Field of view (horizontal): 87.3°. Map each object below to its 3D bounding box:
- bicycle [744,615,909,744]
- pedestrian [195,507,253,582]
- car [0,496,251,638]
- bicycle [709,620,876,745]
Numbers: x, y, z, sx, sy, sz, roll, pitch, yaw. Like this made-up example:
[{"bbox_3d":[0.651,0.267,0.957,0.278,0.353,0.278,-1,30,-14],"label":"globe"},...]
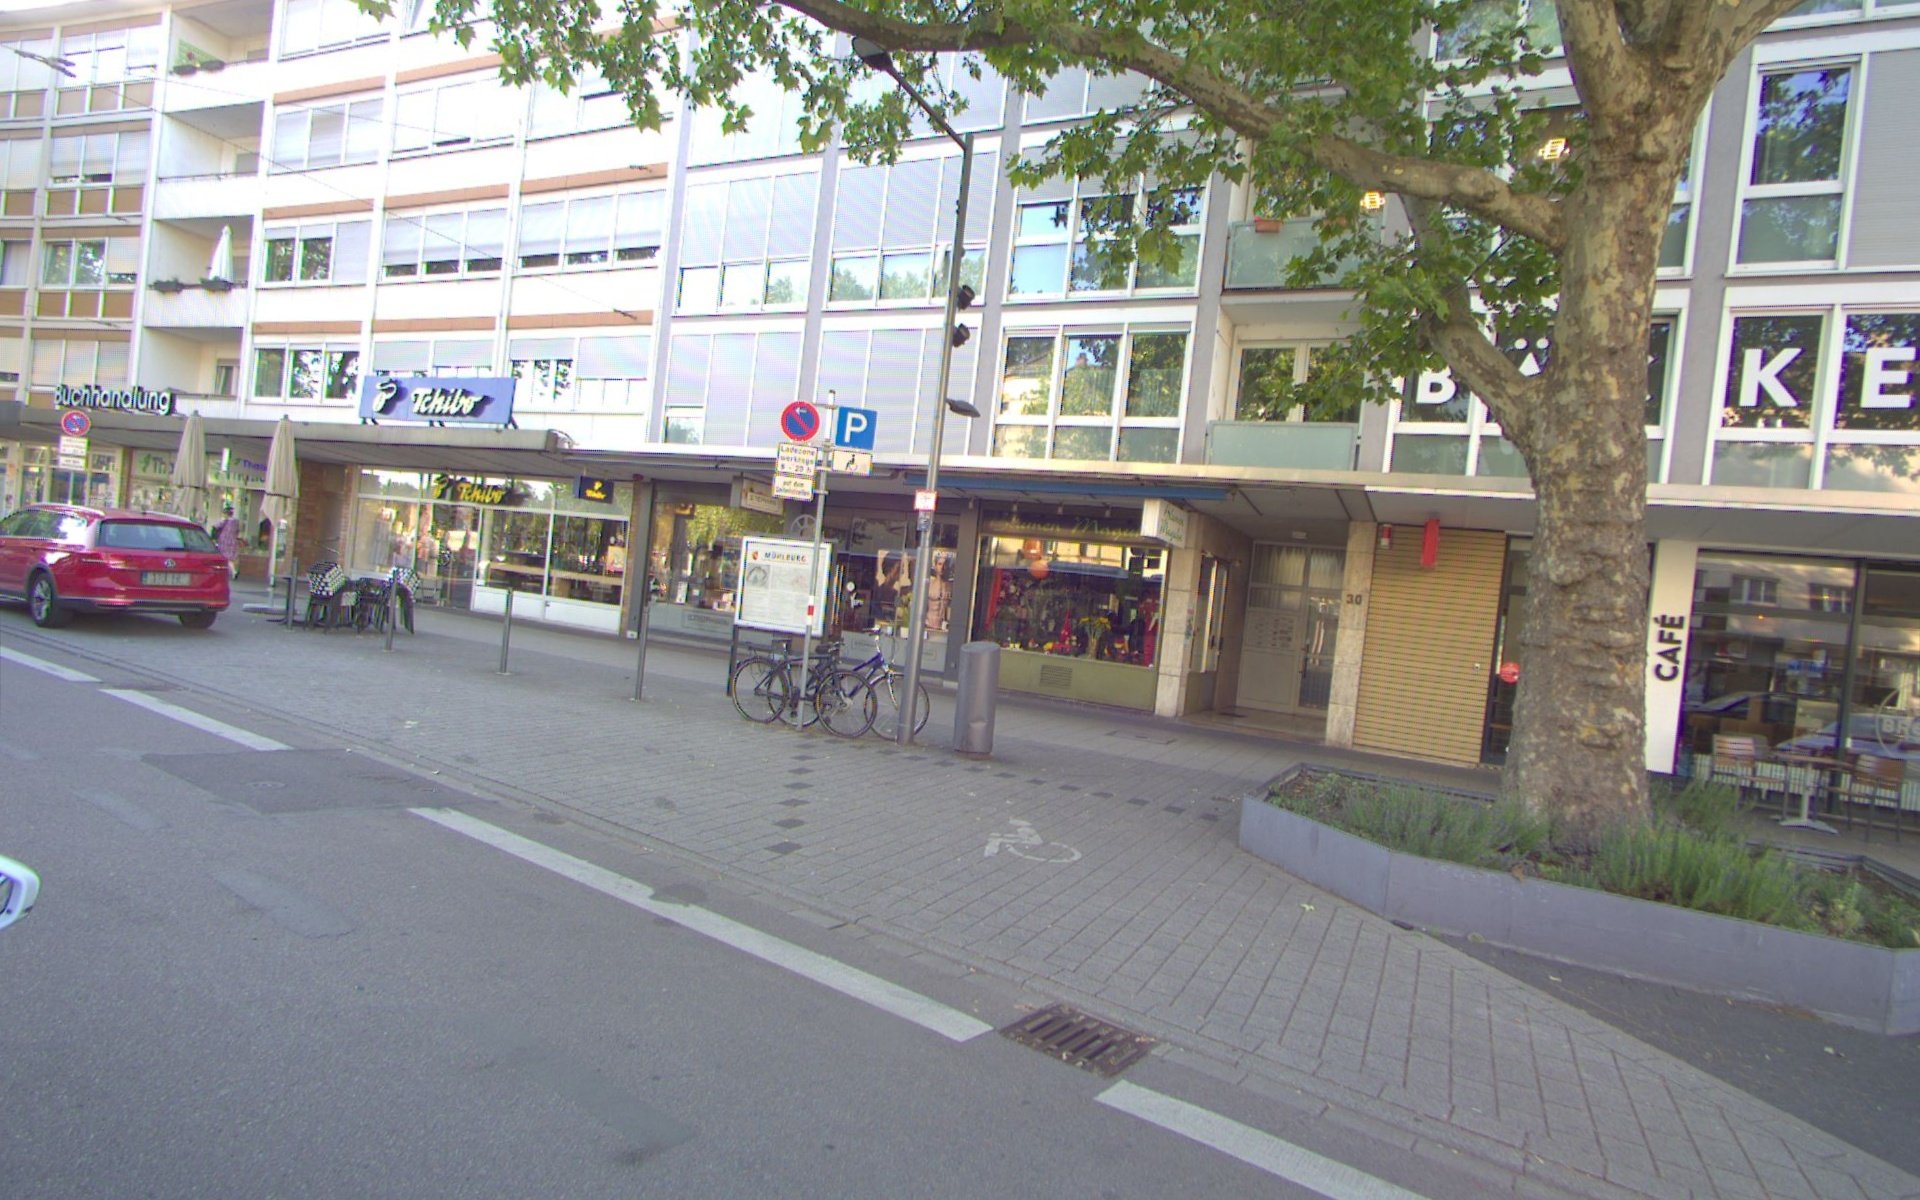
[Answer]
[{"bbox_3d":[-1.422,0.816,10.612,1.686,1.117,0.294,6,4,17],"label":"bicycle"},{"bbox_3d":[-16.557,-1.242,22.627,0.793,1.571,0.641,7,1,24],"label":"pedestrian"},{"bbox_3d":[-11.753,-0.506,13.500,4.488,1.516,1.780,6,2,28],"label":"car"},{"bbox_3d":[-1.750,0.835,10.419,1.686,1.055,0.294,6,4,17],"label":"bicycle"}]
